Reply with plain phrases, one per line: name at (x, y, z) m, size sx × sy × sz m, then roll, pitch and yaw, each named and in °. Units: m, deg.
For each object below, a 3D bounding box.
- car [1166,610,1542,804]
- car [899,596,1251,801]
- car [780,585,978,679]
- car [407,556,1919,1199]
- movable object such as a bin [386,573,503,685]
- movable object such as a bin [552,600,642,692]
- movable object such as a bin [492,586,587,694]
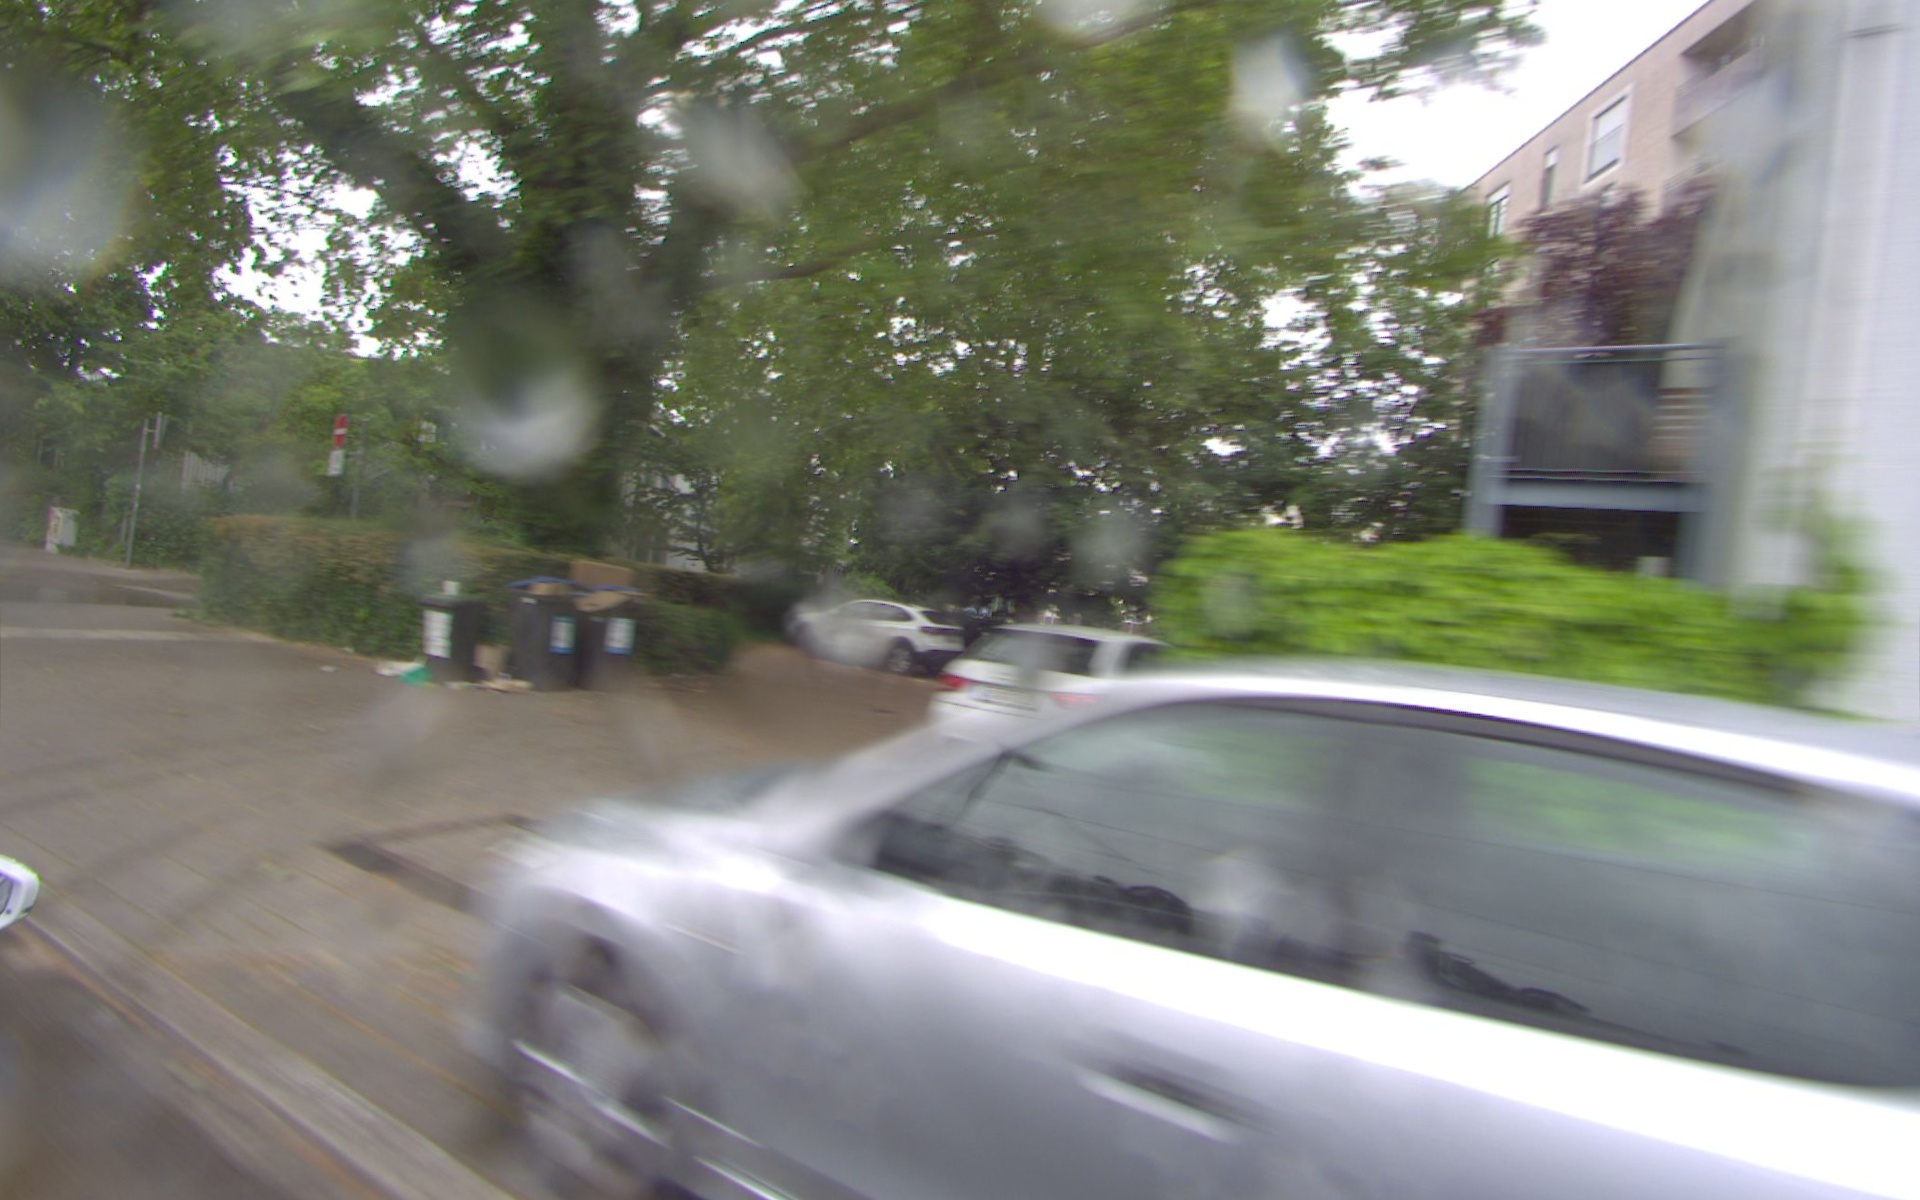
car at (5.148, 1.306, 13.258) m, size 4.179 × 1.814 × 1.997 m, roll 6°, pitch -2°, yaw 32°
car at (1.283, 0.921, 9.560) m, size 1.732 × 1.393 × 3.702 m, roll 6°, pitch -2°, yaw 33°
car at (-1.819, 0.704, 22.398) m, size 3.930 × 1.558 × 1.760 m, roll 6°, pitch -2°, yaw 27°
car at (0.623, 0.815, 2.449) m, size 3.731 × 1.487 × 1.807 m, roll 6°, pitch 2°, yaw 32°
movable object such as a bin at (-5.290, 0.291, 10.332) m, size 0.810 × 1.035 × 0.693 m, roll 7°, pitch 2°, yaw 31°
movable object such as a bin at (-3.995, 0.500, 11.079) m, size 0.726 × 0.910 × 0.536 m, roll 7°, pitch 2°, yaw 31°
movable object such as a bin at (-4.437, 0.417, 10.615) m, size 0.726 × 1.035 × 0.536 m, roll 7°, pitch 2°, yaw 31°
